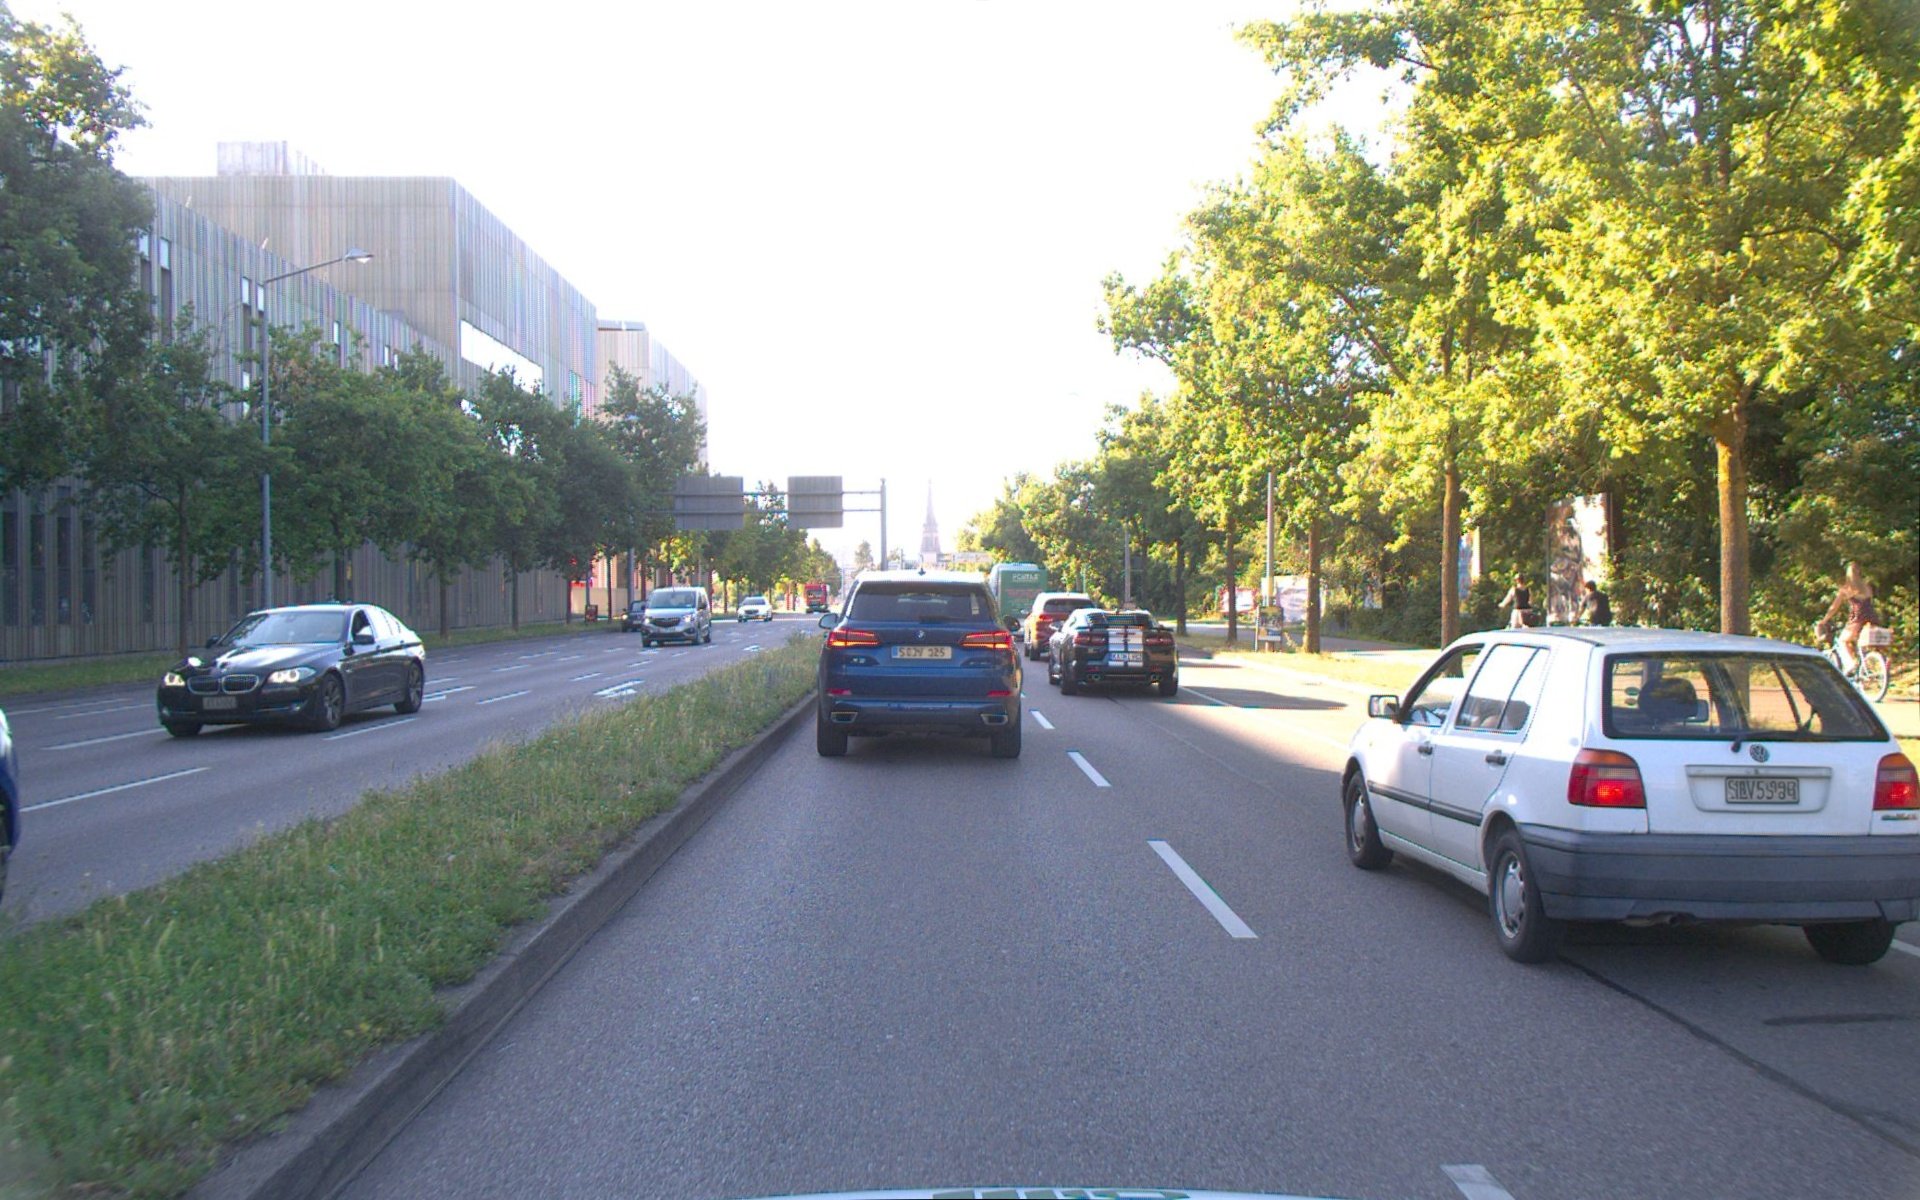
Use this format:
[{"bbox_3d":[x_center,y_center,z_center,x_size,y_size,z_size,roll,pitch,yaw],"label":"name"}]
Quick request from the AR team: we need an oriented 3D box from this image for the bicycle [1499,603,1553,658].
[{"bbox_3d":[11.969,0.651,35.020,0.553,1.132,1.621,1,-1,-1],"label":"bicycle"}]

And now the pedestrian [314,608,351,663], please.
[{"bbox_3d":[-23.737,1.344,62.584,0.998,2.049,0.961,1,-1,-1],"label":"pedestrian"}]

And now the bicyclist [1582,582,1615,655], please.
[{"bbox_3d":[11.773,0.343,30.514,0.419,1.332,0.460,1,-1,-1],"label":"bicyclist"}]

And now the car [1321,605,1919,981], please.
[{"bbox_3d":[3.128,0.789,8.452,1.547,1.438,4.060,1,-1,-2],"label":"car"}]

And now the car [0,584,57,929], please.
[{"bbox_3d":[-4.935,0.700,5.566,1.668,1.477,3.856,-4,-1,-2],"label":"car"}]

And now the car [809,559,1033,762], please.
[{"bbox_3d":[-0.379,0.575,16.889,1.953,1.764,4.531,1,-1,-1],"label":"car"}]

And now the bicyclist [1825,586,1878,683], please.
[{"bbox_3d":[11.745,0.455,21.800,0.419,1.254,0.460,-1,-1,-1],"label":"bicyclist"}]

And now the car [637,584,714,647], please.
[{"bbox_3d":[-9.018,0.507,52.708,1.721,1.808,4.492,-4,-1,-2],"label":"car"}]

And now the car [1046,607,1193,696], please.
[{"bbox_3d":[2.529,0.822,27.117,1.953,1.317,3.999,1,-1,-1],"label":"car"}]

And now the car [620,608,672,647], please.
[{"bbox_3d":[-15.138,1.322,79.960,1.721,1.734,4.492,-4,-1,-2],"label":"car"}]

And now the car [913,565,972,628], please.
[{"bbox_3d":[-0.818,-0.110,72.222,2.095,2.621,5.080,1,-1,-6],"label":"car"}]

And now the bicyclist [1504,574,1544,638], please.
[{"bbox_3d":[11.962,0.136,35.082,0.532,1.339,0.835,1,-1,-1],"label":"bicyclist"}]

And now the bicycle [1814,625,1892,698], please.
[{"bbox_3d":[11.746,0.802,21.784,0.428,0.930,1.026,-2,-1,-1],"label":"bicycle"}]

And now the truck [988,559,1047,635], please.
[{"bbox_3d":[2.110,-0.059,61.632,1.955,2.715,3.999,1,-1,-1],"label":"truck"}]

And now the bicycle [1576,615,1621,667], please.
[{"bbox_3d":[11.758,0.754,30.483,0.428,0.930,1.026,1,-1,-1],"label":"bicycle"}]

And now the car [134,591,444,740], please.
[{"bbox_3d":[-8.066,0.755,20.438,1.954,1.477,4.796,-4,-1,-2],"label":"car"}]

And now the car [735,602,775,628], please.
[{"bbox_3d":[-12.743,0.949,103.030,1.954,1.477,4.712,-4,-1,-2],"label":"car"}]

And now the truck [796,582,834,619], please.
[{"bbox_3d":[-17.477,0.137,199.899,3.908,4.160,11.442,1,-1,-2],"label":"truck"}]

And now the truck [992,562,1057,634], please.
[{"bbox_3d":[2.177,-0.015,56.901,1.955,2.356,3.999,1,-1,-1],"label":"truck"}]

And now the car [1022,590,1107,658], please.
[{"bbox_3d":[2.543,0.601,40.867,1.760,1.586,3.999,1,-1,-1],"label":"car"}]
